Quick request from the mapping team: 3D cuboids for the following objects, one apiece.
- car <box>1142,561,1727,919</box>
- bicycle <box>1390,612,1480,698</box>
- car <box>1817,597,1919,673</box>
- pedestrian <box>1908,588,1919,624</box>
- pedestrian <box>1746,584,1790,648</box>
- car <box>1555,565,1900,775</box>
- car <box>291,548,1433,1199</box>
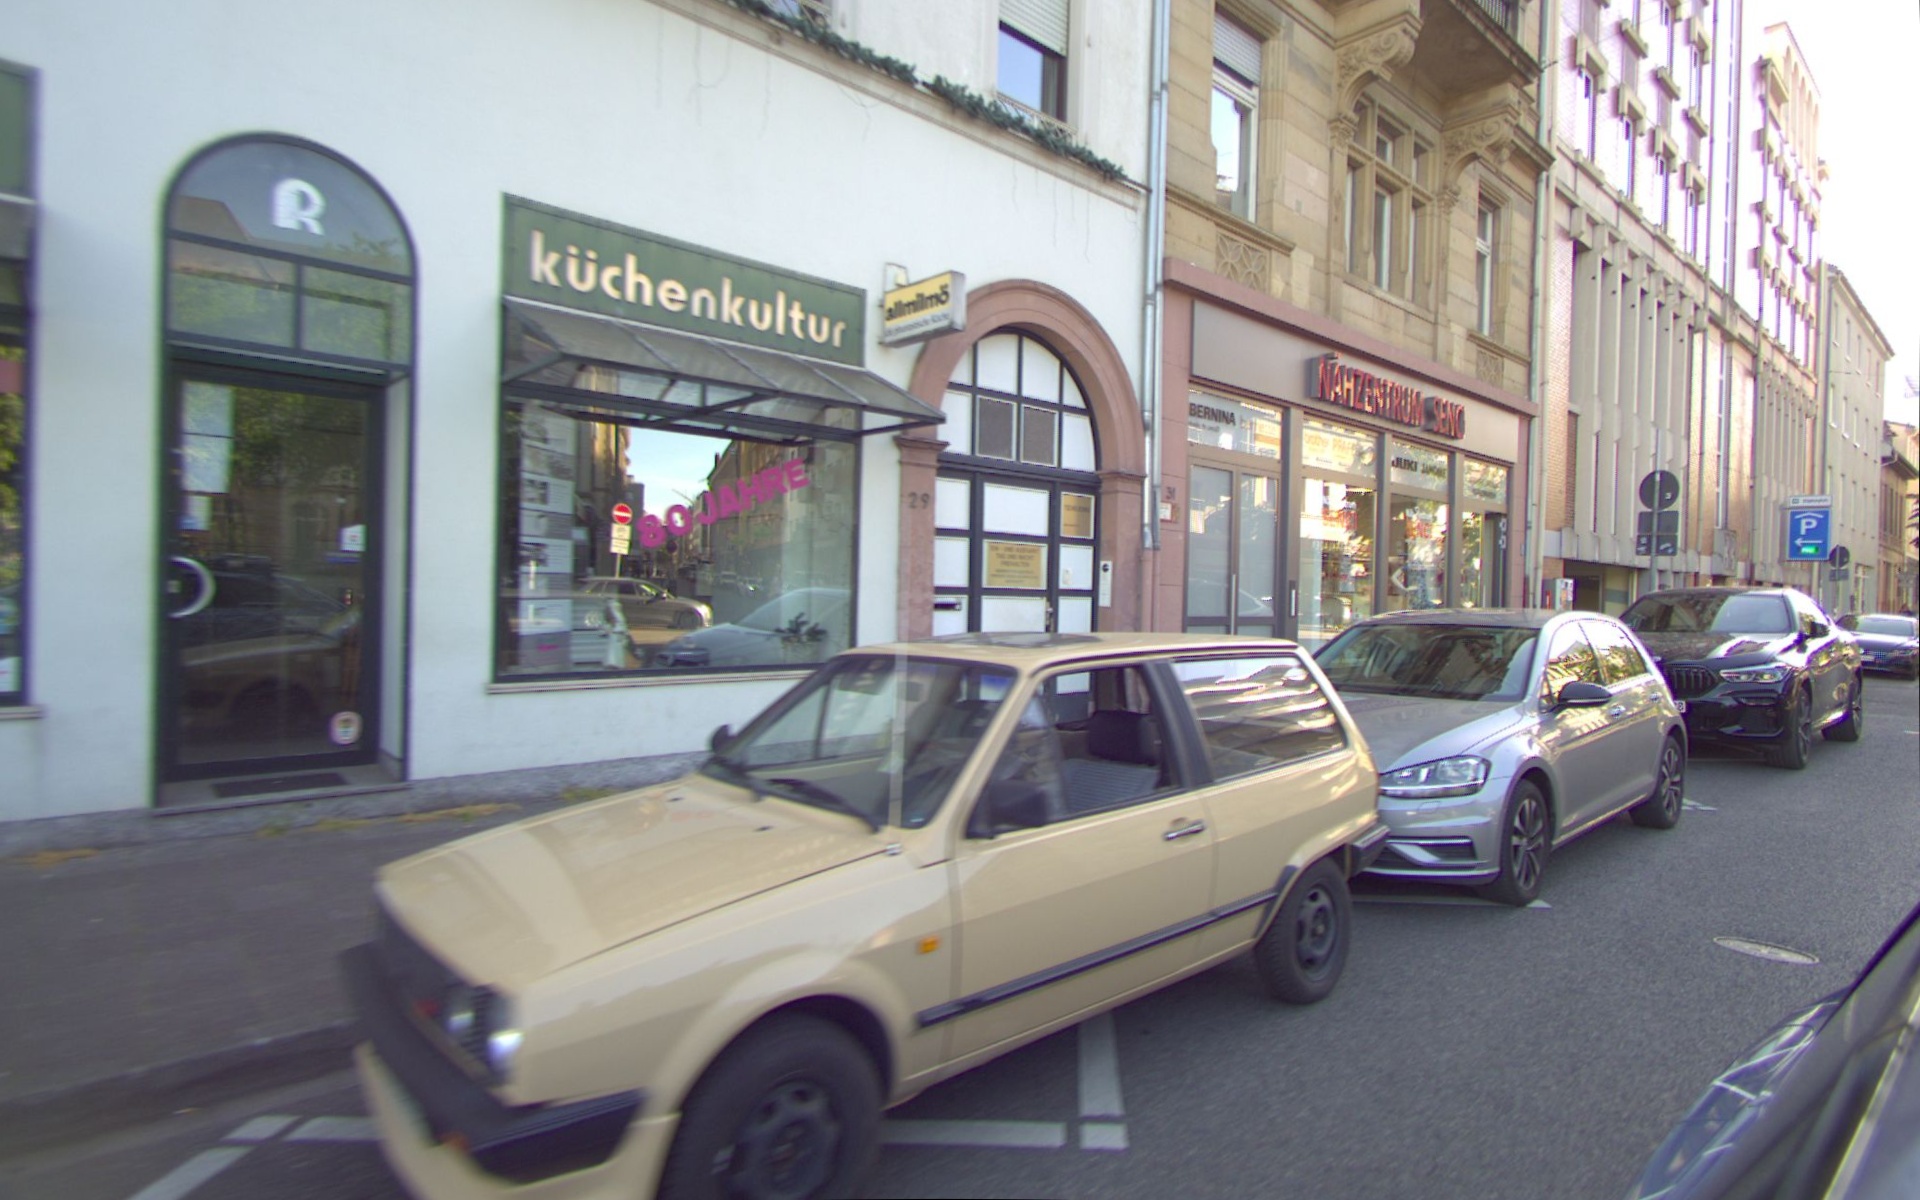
[{"bbox_3d":[3.161,0.610,6.325,4.111,1.506,1.842,1,-1,-41],"label":"car"},{"bbox_3d":[6.516,0.720,13.838,1.908,1.098,0.358,1,3,-42],"label":"bicycle"},{"bbox_3d":[22.186,0.790,24.117,4.878,1.496,1.922,1,5,-41],"label":"car"},{"bbox_3d":[48.579,0.315,51.291,0.757,1.786,0.624,1,3,-40],"label":"pedestrian"},{"bbox_3d":[21.773,0.419,27.271,0.874,1.655,0.693,1,3,-42],"label":"pedestrian"},{"bbox_3d":[8.275,0.608,10.737,4.738,1.747,1.977,1,-1,-41],"label":"car"},{"bbox_3d":[0.023,0.667,3.549,3.763,1.468,1.611,1,-1,-41],"label":"car"}]
